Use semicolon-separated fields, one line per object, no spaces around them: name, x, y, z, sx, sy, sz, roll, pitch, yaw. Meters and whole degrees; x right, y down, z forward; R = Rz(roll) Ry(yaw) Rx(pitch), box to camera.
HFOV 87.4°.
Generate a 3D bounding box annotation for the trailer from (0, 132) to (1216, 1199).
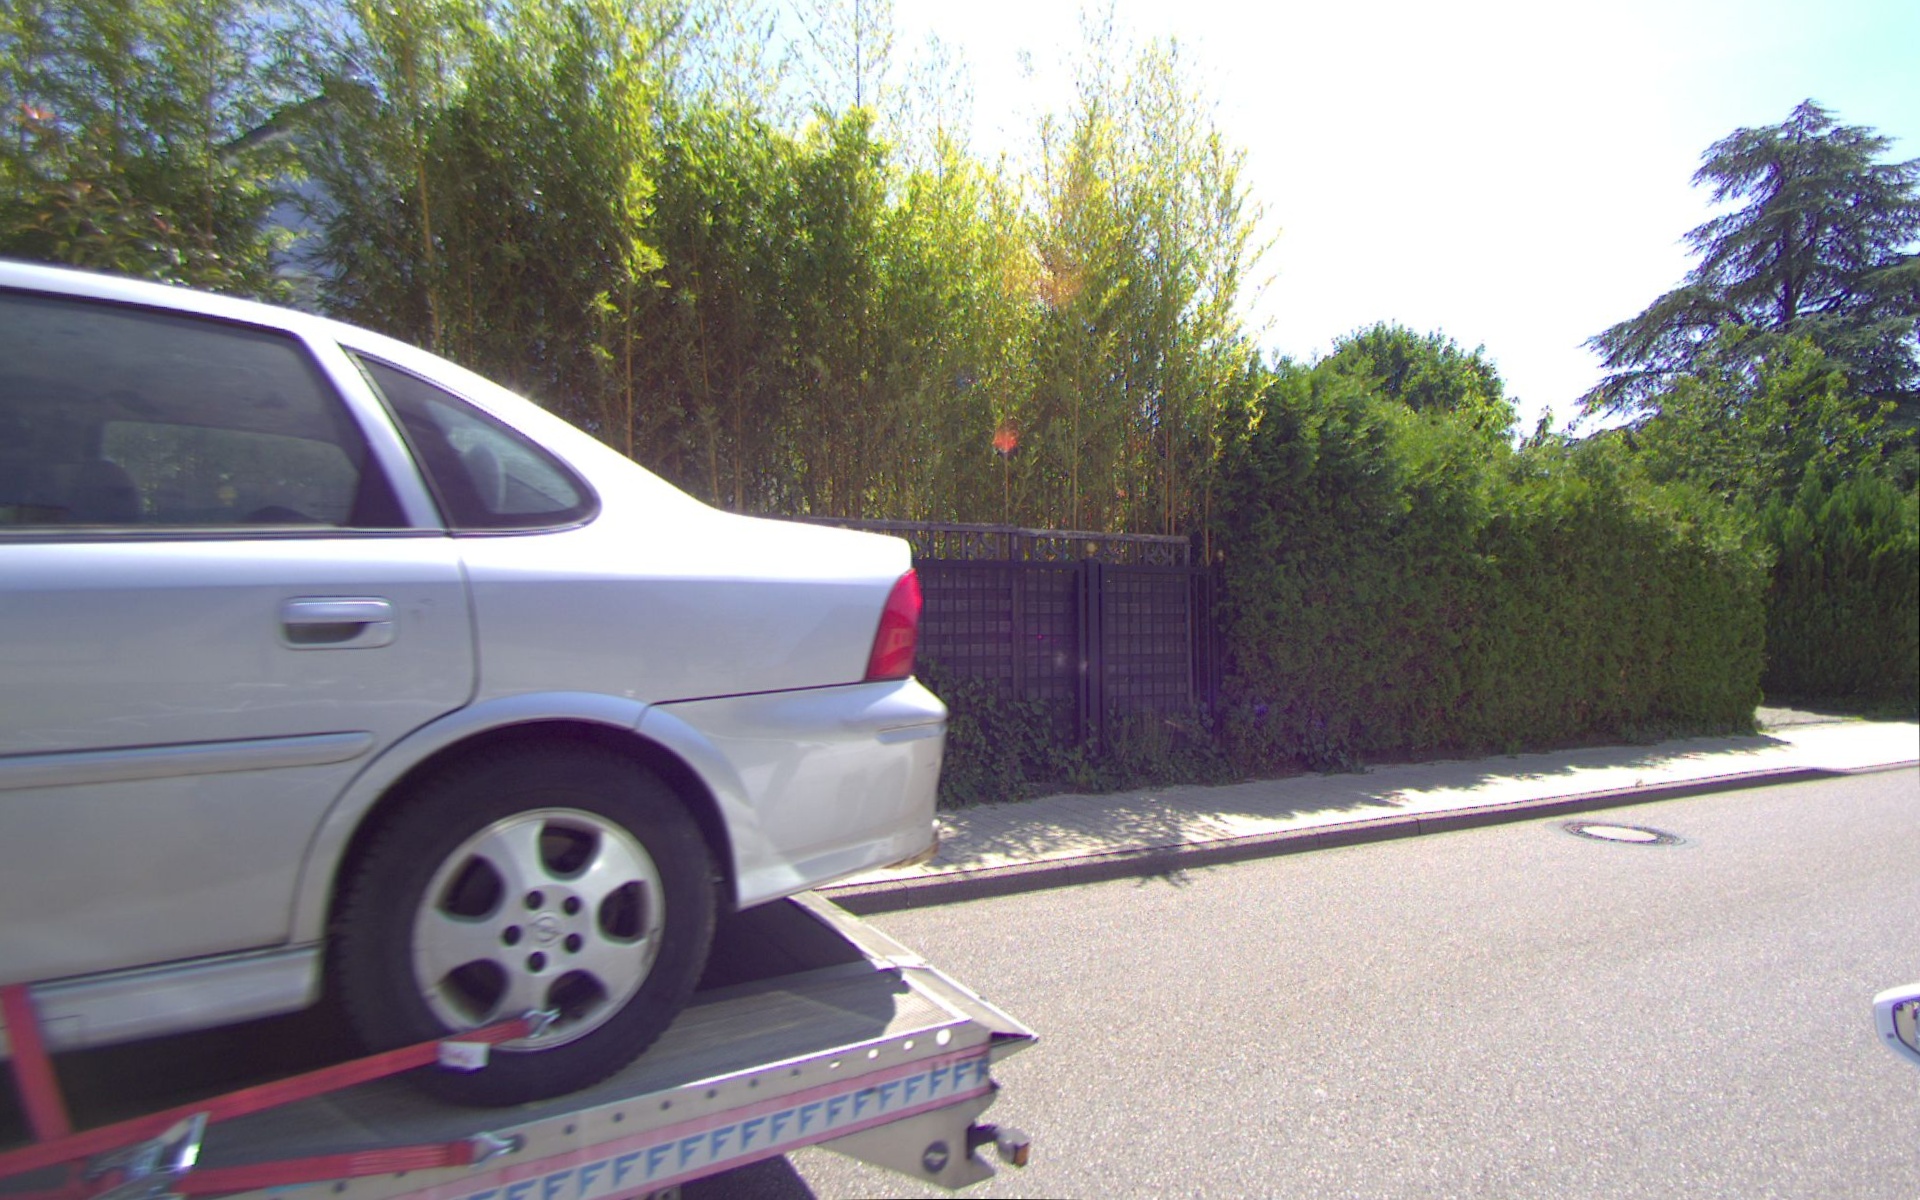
trailer;-2.620;0.410;1.571;6.130;2.013;2.145;2;-1;-31
